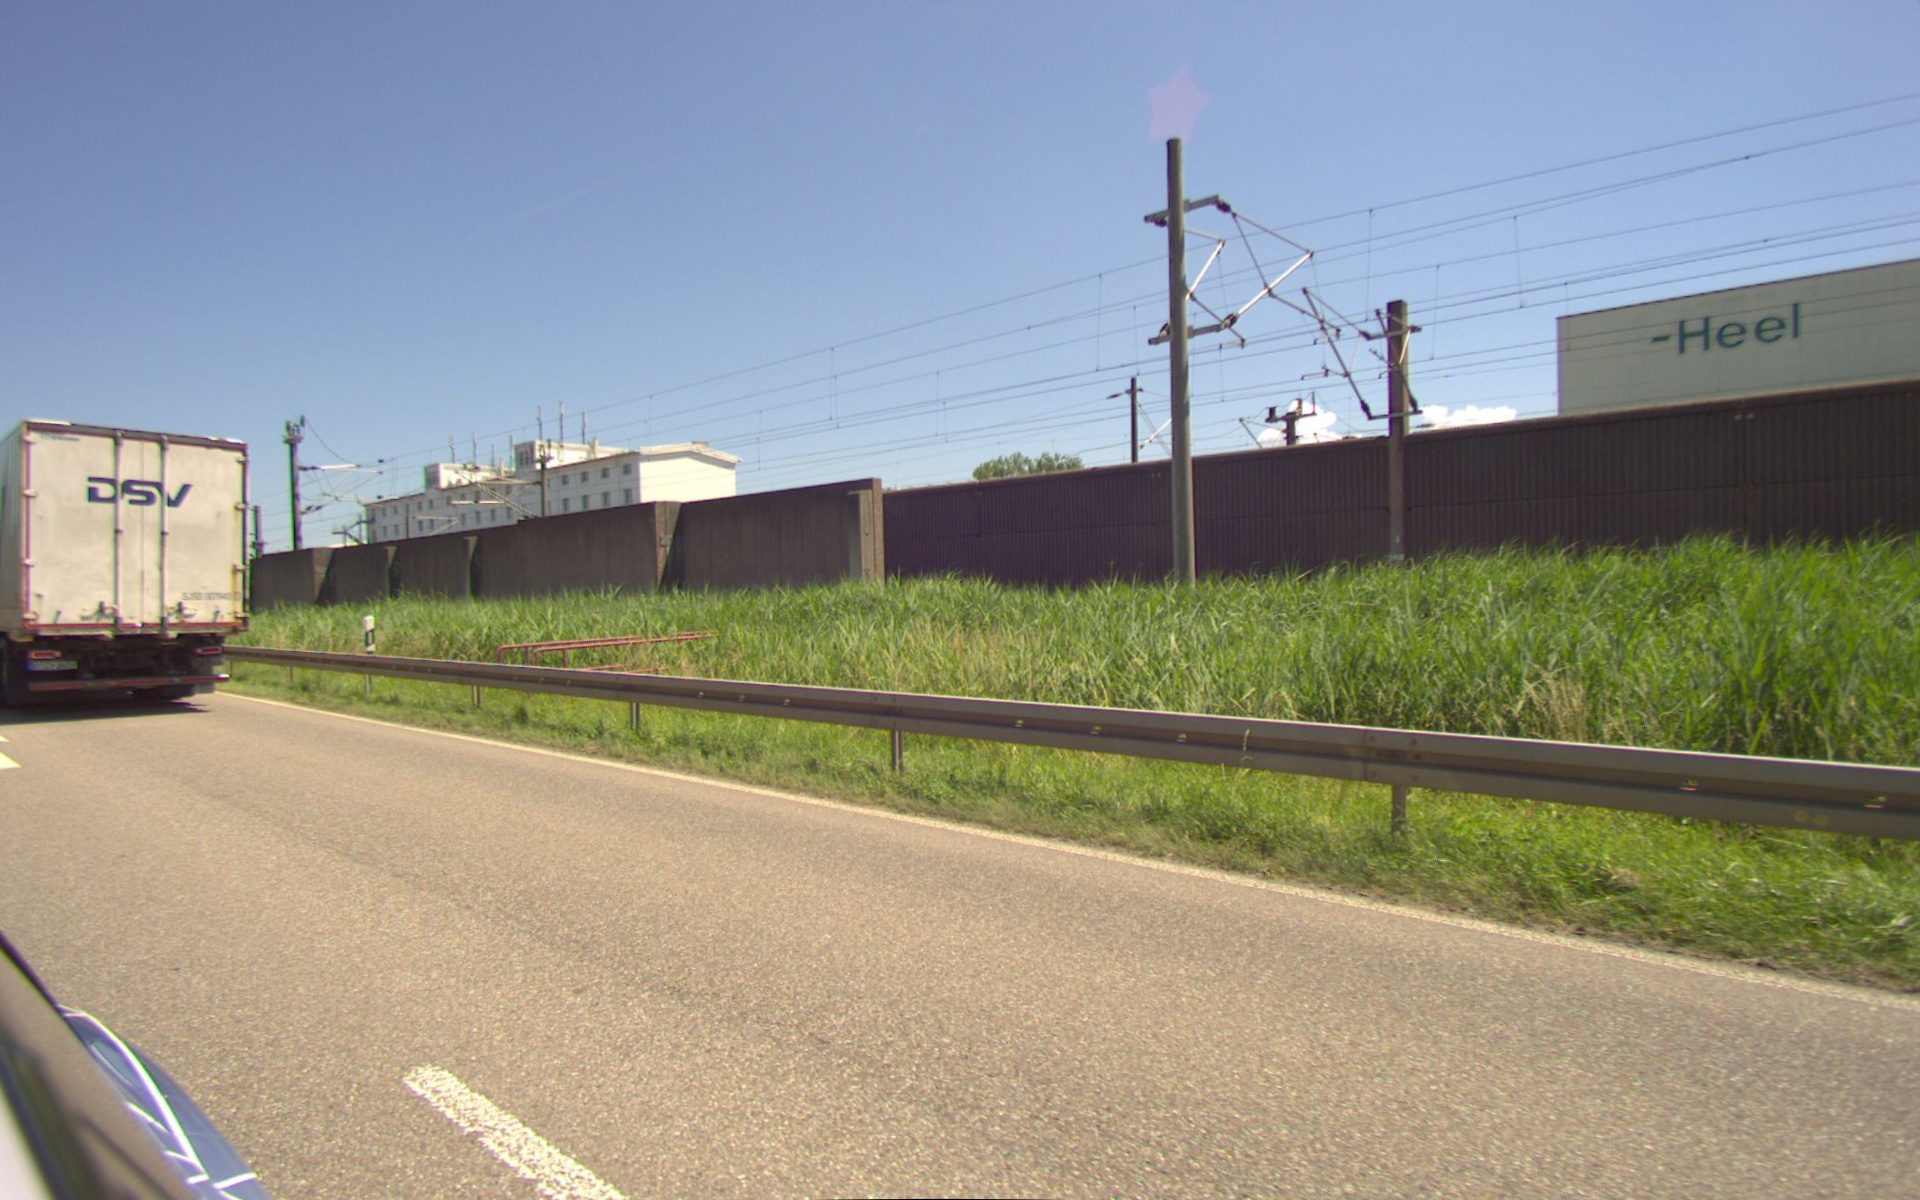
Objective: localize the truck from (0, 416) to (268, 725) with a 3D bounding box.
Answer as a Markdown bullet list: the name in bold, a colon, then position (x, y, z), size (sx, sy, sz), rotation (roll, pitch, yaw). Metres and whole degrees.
- **truck**: position (-15.319, -0.351, 17.607), size (10.493, 4.008, 2.768), rotation (-1, 0, 41)
